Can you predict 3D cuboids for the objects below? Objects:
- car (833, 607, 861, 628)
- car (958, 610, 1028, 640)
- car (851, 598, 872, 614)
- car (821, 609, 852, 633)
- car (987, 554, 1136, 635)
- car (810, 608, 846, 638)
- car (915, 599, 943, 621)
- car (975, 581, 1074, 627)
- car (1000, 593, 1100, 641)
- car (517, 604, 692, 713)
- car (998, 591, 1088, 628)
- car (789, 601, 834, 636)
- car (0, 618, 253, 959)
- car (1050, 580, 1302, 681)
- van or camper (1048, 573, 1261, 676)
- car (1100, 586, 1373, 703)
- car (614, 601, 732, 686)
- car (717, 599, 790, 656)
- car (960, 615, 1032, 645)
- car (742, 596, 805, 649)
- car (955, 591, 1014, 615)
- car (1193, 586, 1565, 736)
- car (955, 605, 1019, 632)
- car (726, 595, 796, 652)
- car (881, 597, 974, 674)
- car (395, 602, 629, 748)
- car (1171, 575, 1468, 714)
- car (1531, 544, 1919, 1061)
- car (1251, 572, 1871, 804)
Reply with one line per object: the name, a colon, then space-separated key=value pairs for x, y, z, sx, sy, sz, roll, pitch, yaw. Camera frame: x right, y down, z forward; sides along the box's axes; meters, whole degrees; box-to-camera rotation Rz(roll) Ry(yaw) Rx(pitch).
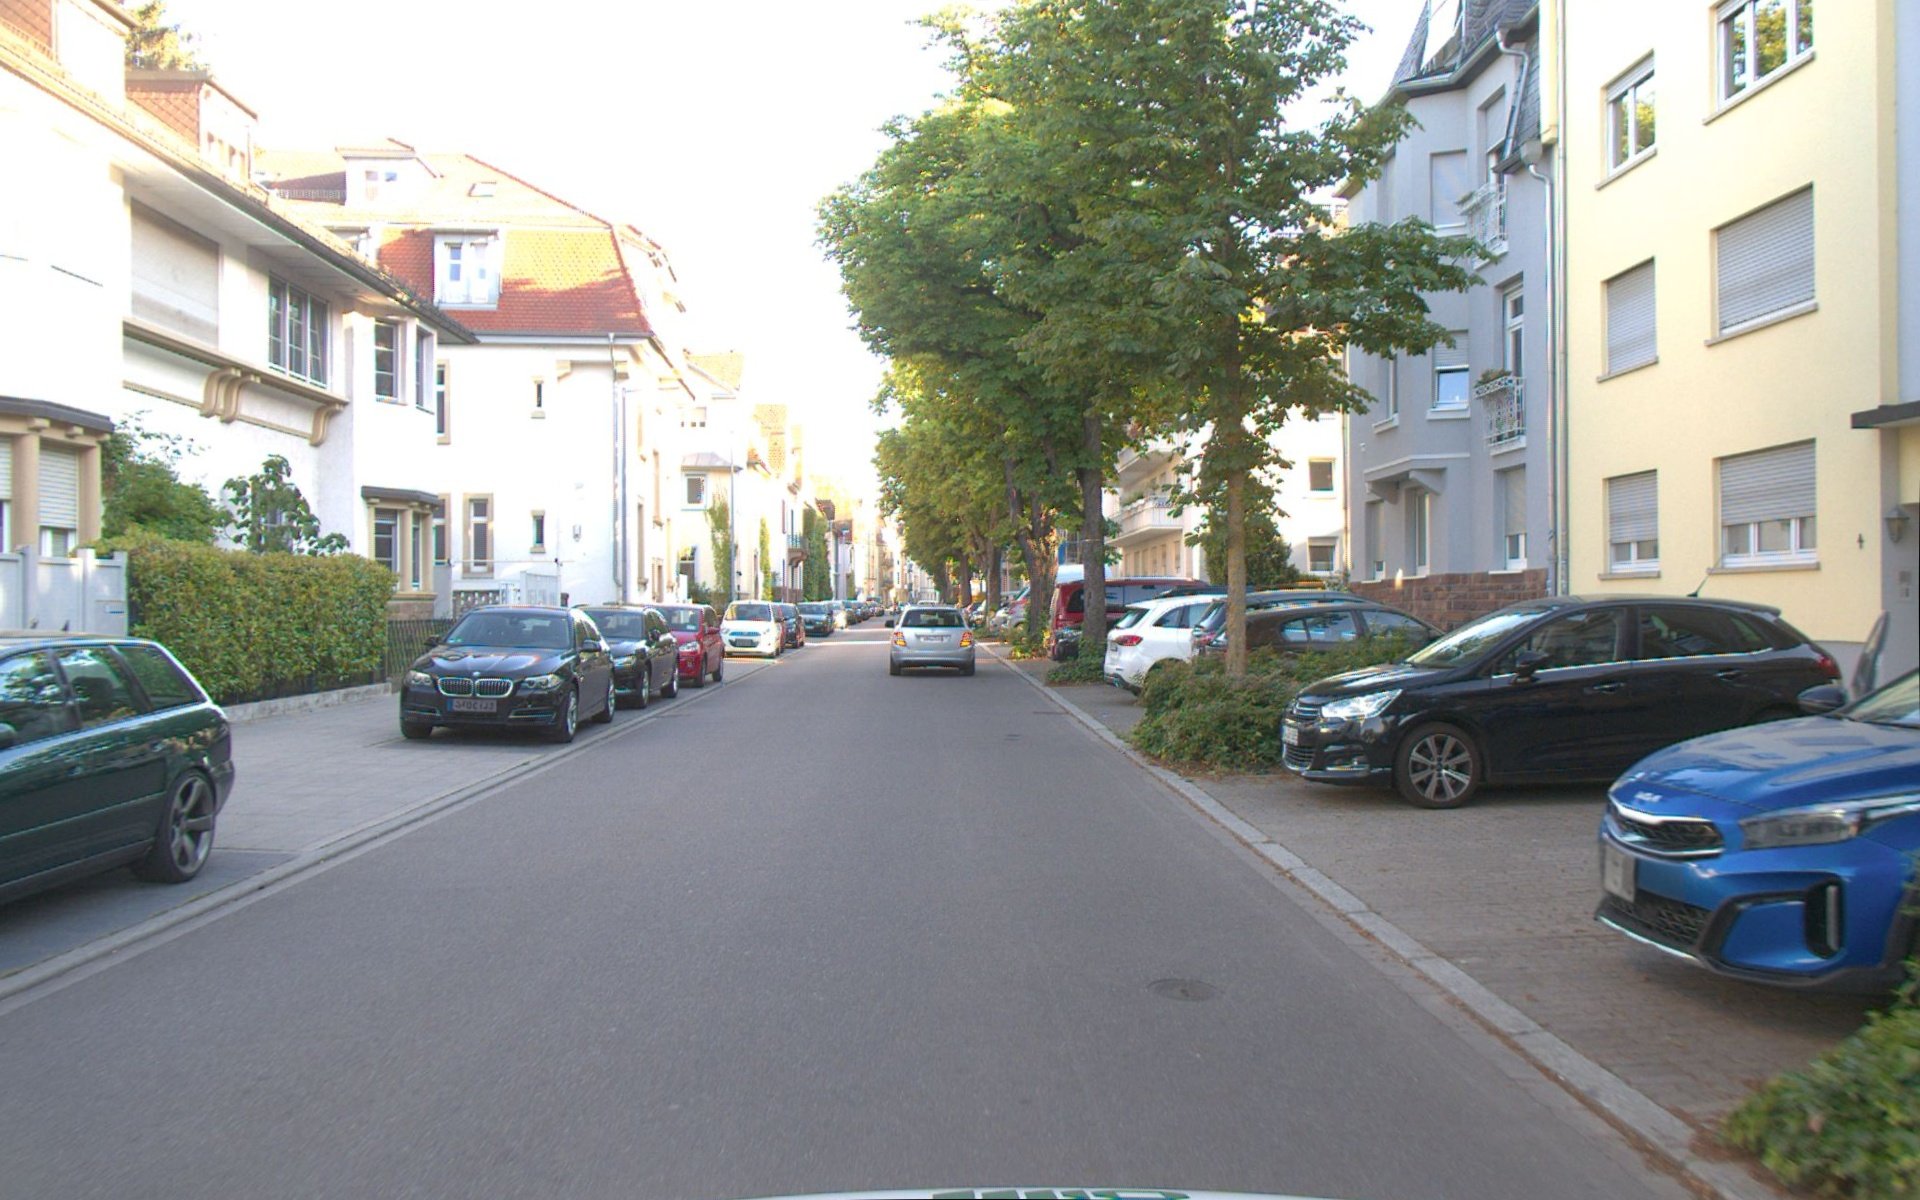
car: x=-7.718 y=1.201 z=113.383 sx=1.763 sy=1.411 sz=3.605 roll=0 pitch=0 yaw=-2
car: x=1.770 y=1.360 z=90.511 sx=3.766 sy=1.508 sz=1.805 roll=-1 pitch=0 yaw=-1
car: x=-9.223 y=0.550 z=154.963 sx=1.763 sy=1.411 sz=3.605 roll=0 pitch=0 yaw=-2
car: x=-7.708 y=1.304 z=103.652 sx=1.763 sy=1.411 sz=3.605 roll=0 pitch=0 yaw=-2
car: x=3.876 y=-0.221 z=63.920 sx=5.432 sy=3.020 sz=2.470 roll=-1 pitch=0 yaw=-4
car: x=-7.139 y=1.231 z=89.653 sx=1.763 sy=1.508 sz=3.856 roll=0 pitch=0 yaw=-2
car: x=-2.162 y=0.720 z=115.435 sx=1.779 sy=1.499 sz=4.216 roll=0 pitch=-1 yaw=1
car: x=2.962 y=0.158 z=76.940 sx=4.429 sy=2.049 sz=2.250 roll=-1 pitch=0 yaw=-3
car: x=3.294 y=0.617 z=60.851 sx=3.523 sy=1.689 sz=1.649 roll=-1 pitch=0 yaw=-4
car: x=-5.325 y=0.833 z=25.375 sx=1.747 sy=1.524 sz=4.698 roll=0 pitch=-1 yaw=-1
car: x=3.528 y=0.408 z=71.045 sx=3.766 sy=1.508 sz=1.805 roll=-1 pitch=0 yaw=-1
car: x=-6.543 y=0.789 z=73.124 sx=1.763 sy=1.508 sz=3.856 roll=0 pitch=0 yaw=-2
car: x=-5.032 y=0.826 z=7.739 sx=1.722 sy=1.473 sz=4.141 roll=0 pitch=-1 yaw=-1
car: x=4.056 y=0.566 z=31.612 sx=4.532 sy=1.869 sz=1.953 roll=0 pitch=0 yaw=-2
van or camper: x=3.951 y=0.483 z=34.180 sx=4.224 sy=2.049 sz=2.000 roll=0 pitch=0 yaw=1
car: x=3.990 y=0.623 z=24.254 sx=3.656 sy=1.585 sz=1.724 roll=-1 pitch=0 yaw=-3
car: x=-5.354 y=0.782 z=31.201 sx=1.625 sy=1.514 sz=3.752 roll=0 pitch=-1 yaw=-1
car: x=-5.713 y=0.740 z=46.082 sx=1.625 sy=1.526 sz=3.752 roll=0 pitch=-1 yaw=-1
car: x=1.896 y=1.592 z=87.871 sx=3.766 sy=1.508 sz=1.805 roll=-1 pitch=0 yaw=-1
car: x=-6.190 y=0.723 z=55.341 sx=1.763 sy=1.673 sz=3.856 roll=0 pitch=0 yaw=-2
car: x=1.568 y=0.172 z=107.988 sx=3.766 sy=1.508 sz=1.805 roll=-1 pitch=0 yaw=-1
car: x=4.737 y=0.666 z=19.071 sx=3.845 sy=1.585 sz=1.725 roll=-1 pitch=0 yaw=0
car: x=1.592 y=1.092 z=98.630 sx=3.766 sy=1.508 sz=1.805 roll=-1 pitch=0 yaw=-1
car: x=-6.084 y=0.743 z=50.926 sx=1.763 sy=1.673 sz=3.855 roll=0 pitch=-1 yaw=-2
car: x=-0.622 y=0.728 z=34.745 sx=1.779 sy=1.499 sz=4.216 roll=0 pitch=-1 yaw=1
car: x=-5.156 y=0.802 z=19.666 sx=1.817 sy=1.524 sz=4.651 roll=0 pitch=-1 yaw=-4
car: x=4.658 y=0.562 z=21.749 sx=3.476 sy=1.683 sz=1.724 roll=-1 pitch=0 yaw=-3
car: x=4.771 y=0.626 z=6.430 sx=4.436 sy=1.669 sz=1.873 roll=-1 pitch=0 yaw=-3
car: x=4.508 y=0.627 z=12.839 sx=4.106 sy=1.585 sz=1.873 roll=-1 pitch=0 yaw=-3
